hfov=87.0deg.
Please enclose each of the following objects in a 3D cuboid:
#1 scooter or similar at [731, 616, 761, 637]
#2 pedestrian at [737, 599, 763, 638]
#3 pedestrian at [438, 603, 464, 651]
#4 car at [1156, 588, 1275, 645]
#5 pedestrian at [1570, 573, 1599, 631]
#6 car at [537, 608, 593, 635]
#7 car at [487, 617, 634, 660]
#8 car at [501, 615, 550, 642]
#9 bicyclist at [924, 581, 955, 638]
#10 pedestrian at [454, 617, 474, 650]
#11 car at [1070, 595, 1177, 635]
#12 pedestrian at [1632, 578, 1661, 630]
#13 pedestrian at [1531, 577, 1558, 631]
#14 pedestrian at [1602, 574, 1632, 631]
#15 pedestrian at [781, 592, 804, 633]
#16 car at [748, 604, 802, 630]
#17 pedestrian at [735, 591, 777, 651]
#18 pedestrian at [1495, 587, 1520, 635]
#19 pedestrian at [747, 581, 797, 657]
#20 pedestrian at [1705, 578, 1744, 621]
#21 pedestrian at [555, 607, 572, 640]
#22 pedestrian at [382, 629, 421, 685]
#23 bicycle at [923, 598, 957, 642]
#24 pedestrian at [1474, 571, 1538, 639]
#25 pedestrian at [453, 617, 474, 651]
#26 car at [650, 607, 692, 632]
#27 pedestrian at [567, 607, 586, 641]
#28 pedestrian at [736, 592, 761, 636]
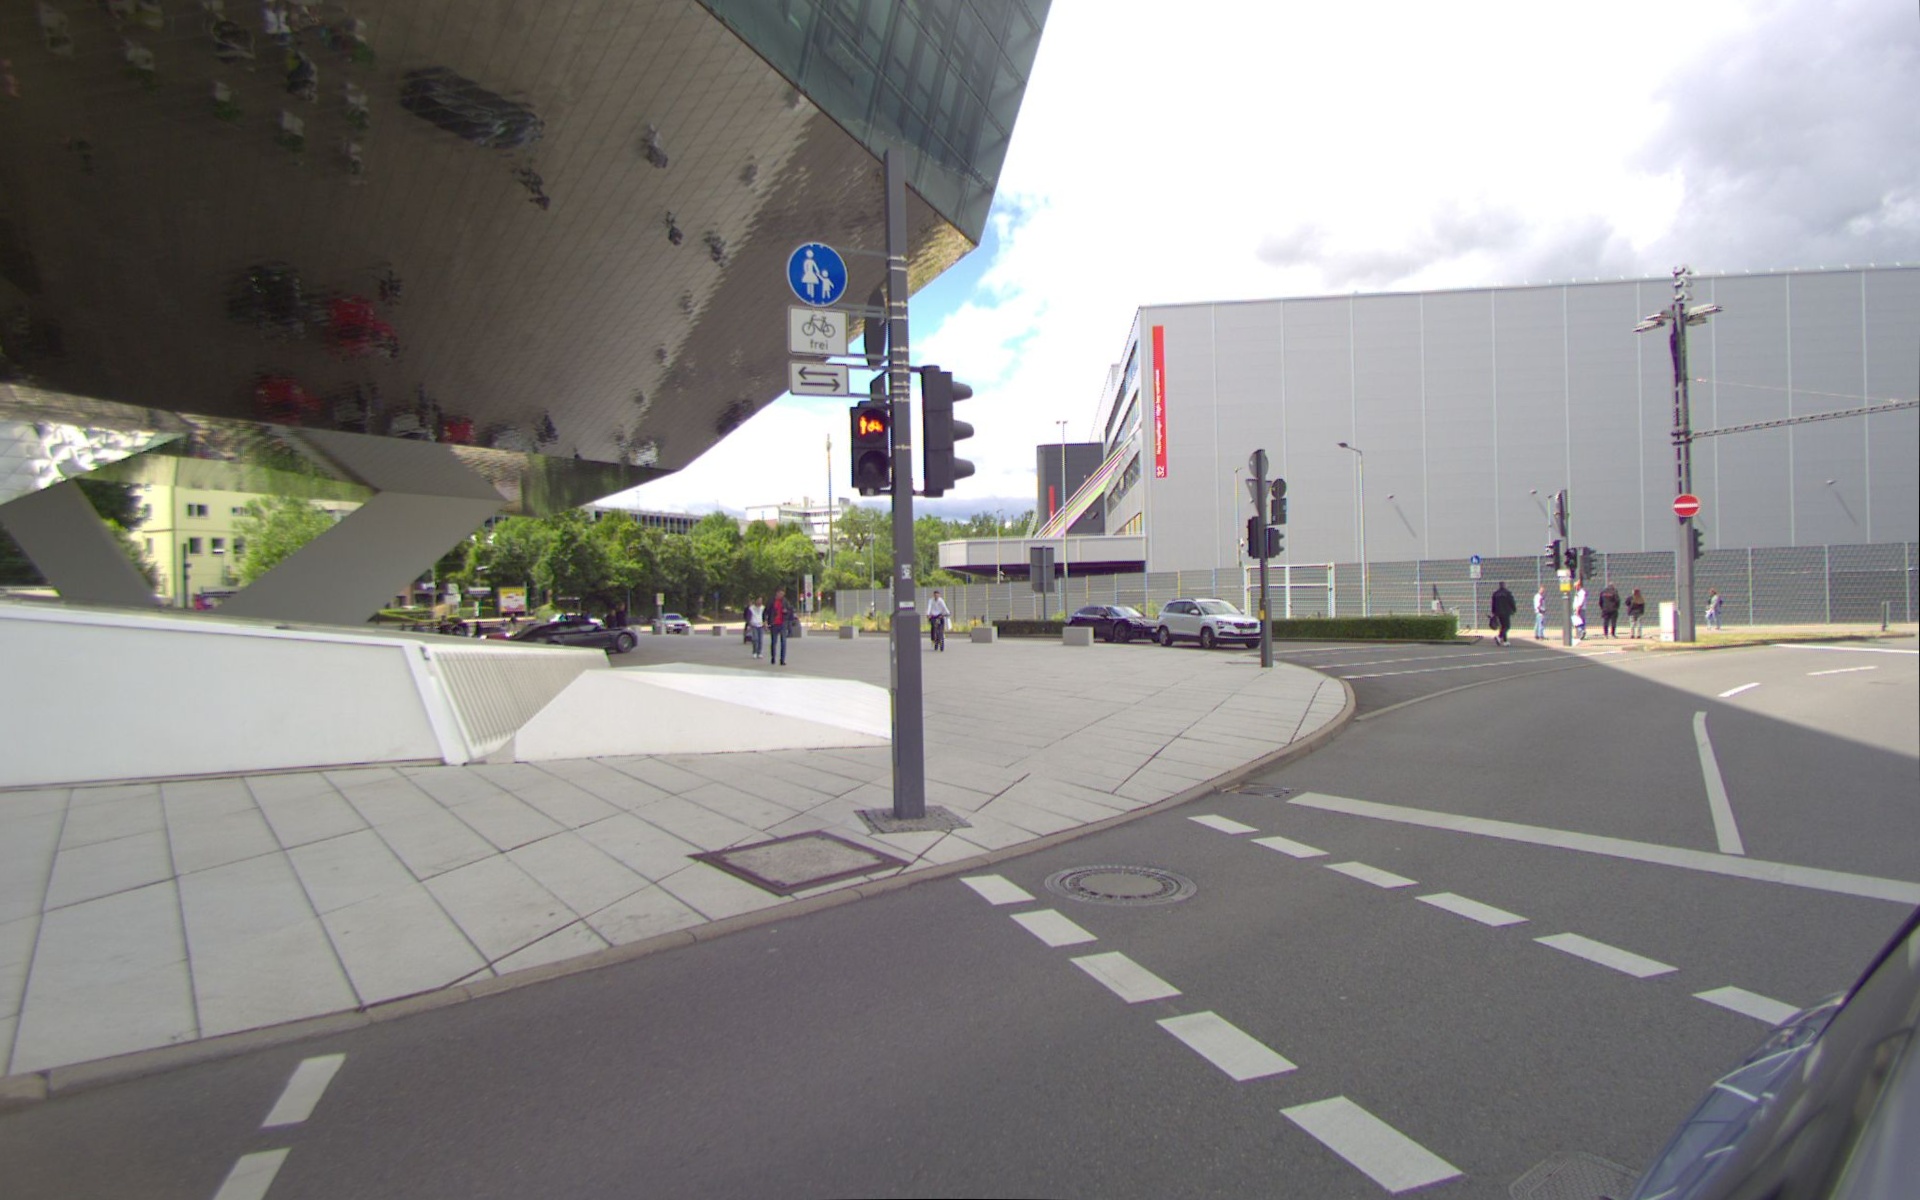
[{"bbox_3d":[-9.091,1.123,42.947,0.930,0.850,1.115,-3,0,-28],"label":"scooter or similar"},{"bbox_3d":[-8.744,0.782,42.099,0.788,1.560,0.788,-3,-1,-28],"label":"pedestrian"},{"bbox_3d":[-22.162,1.169,44.044,0.764,2.039,0.826,-2,-1,-42],"label":"pedestrian"},{"bbox_3d":[8.064,0.474,32.292,1.800,1.569,4.009,-3,2,-18],"label":"car"},{"bbox_3d":[20.580,0.068,33.358,0.612,1.870,0.668,-3,-1,21],"label":"pedestrian"},{"bbox_3d":[-33.699,1.804,86.321,4.129,2.039,2.001,-3,0,-30],"label":"car"},{"bbox_3d":[-14.304,1.352,36.457,1.985,1.236,4.625,-3,0,33],"label":"car"},{"bbox_3d":[-27.776,1.827,64.634,1.855,1.574,3.994,-3,0,-39],"label":"car"},{"bbox_3d":[-0.646,0.288,31.121,0.757,1.674,0.938,-3,-1,-8],"label":"bicyclist"},{"bbox_3d":[-27.185,1.834,55.456,0.763,1.761,0.826,-2,-1,-39],"label":"pedestrian"},{"bbox_3d":[5.996,0.556,37.669,1.801,1.401,4.163,-1,-1,-27],"label":"car"},{"bbox_3d":[22.192,0.129,32.720,0.669,1.659,0.611,-3,-1,39],"label":"pedestrian"},{"bbox_3d":[19.623,0.130,33.971,0.613,1.781,0.602,-3,-1,22],"label":"pedestrian"},{"bbox_3d":[21.492,0.090,33.119,0.613,1.817,0.668,-3,-1,23],"label":"pedestrian"},{"bbox_3d":[-8.509,0.625,51.514,0.815,2.039,0.773,-3,-1,14],"label":"pedestrian"},{"bbox_3d":[-13.573,1.270,74.248,1.968,1.724,3.989,-3,0,-44],"label":"car"},{"bbox_3d":[-6.017,0.623,29.786,0.906,1.697,0.830,-3,-1,-33],"label":"pedestrian"},{"bbox_3d":[17.757,0.346,32.820,0.579,1.515,0.762,-3,-1,34],"label":"pedestrian"},{"bbox_3d":[-4.750,0.482,25.500,0.906,1.849,0.830,-3,-1,-33],"label":"pedestrian"},{"bbox_3d":[29.340,-0.029,38.852,0.905,1.606,0.694,-3,-1,8],"label":"pedestrian"},{"bbox_3d":[-25.401,1.504,64.851,0.762,2.039,0.827,-2,-1,-34],"label":"pedestrian"},{"bbox_3d":[-16.585,1.675,30.035,0.906,1.592,0.830,-3,-1,-33],"label":"pedestrian"},{"bbox_3d":[-0.624,0.600,31.193,0.765,1.290,1.928,-3,0,-7],"label":"bicycle"},{"bbox_3d":[16.641,0.147,30.869,1.353,2.010,0.958,0,-1,-8],"label":"pedestrian"},{"bbox_3d":[-26.575,1.801,54.156,0.764,1.761,0.826,-2,-1,-42],"label":"pedestrian"},{"bbox_3d":[-21.160,1.429,74.113,1.851,1.663,4.001,-3,0,-32],"label":"car"},{"bbox_3d":[-23.697,1.510,62.597,0.764,2.039,0.826,-2,-1,-42],"label":"pedestrian"},{"bbox_3d":[-10.056,0.682,48.054,0.764,2.039,0.826,-2,-1,-42],"label":"pedestrian"}]
